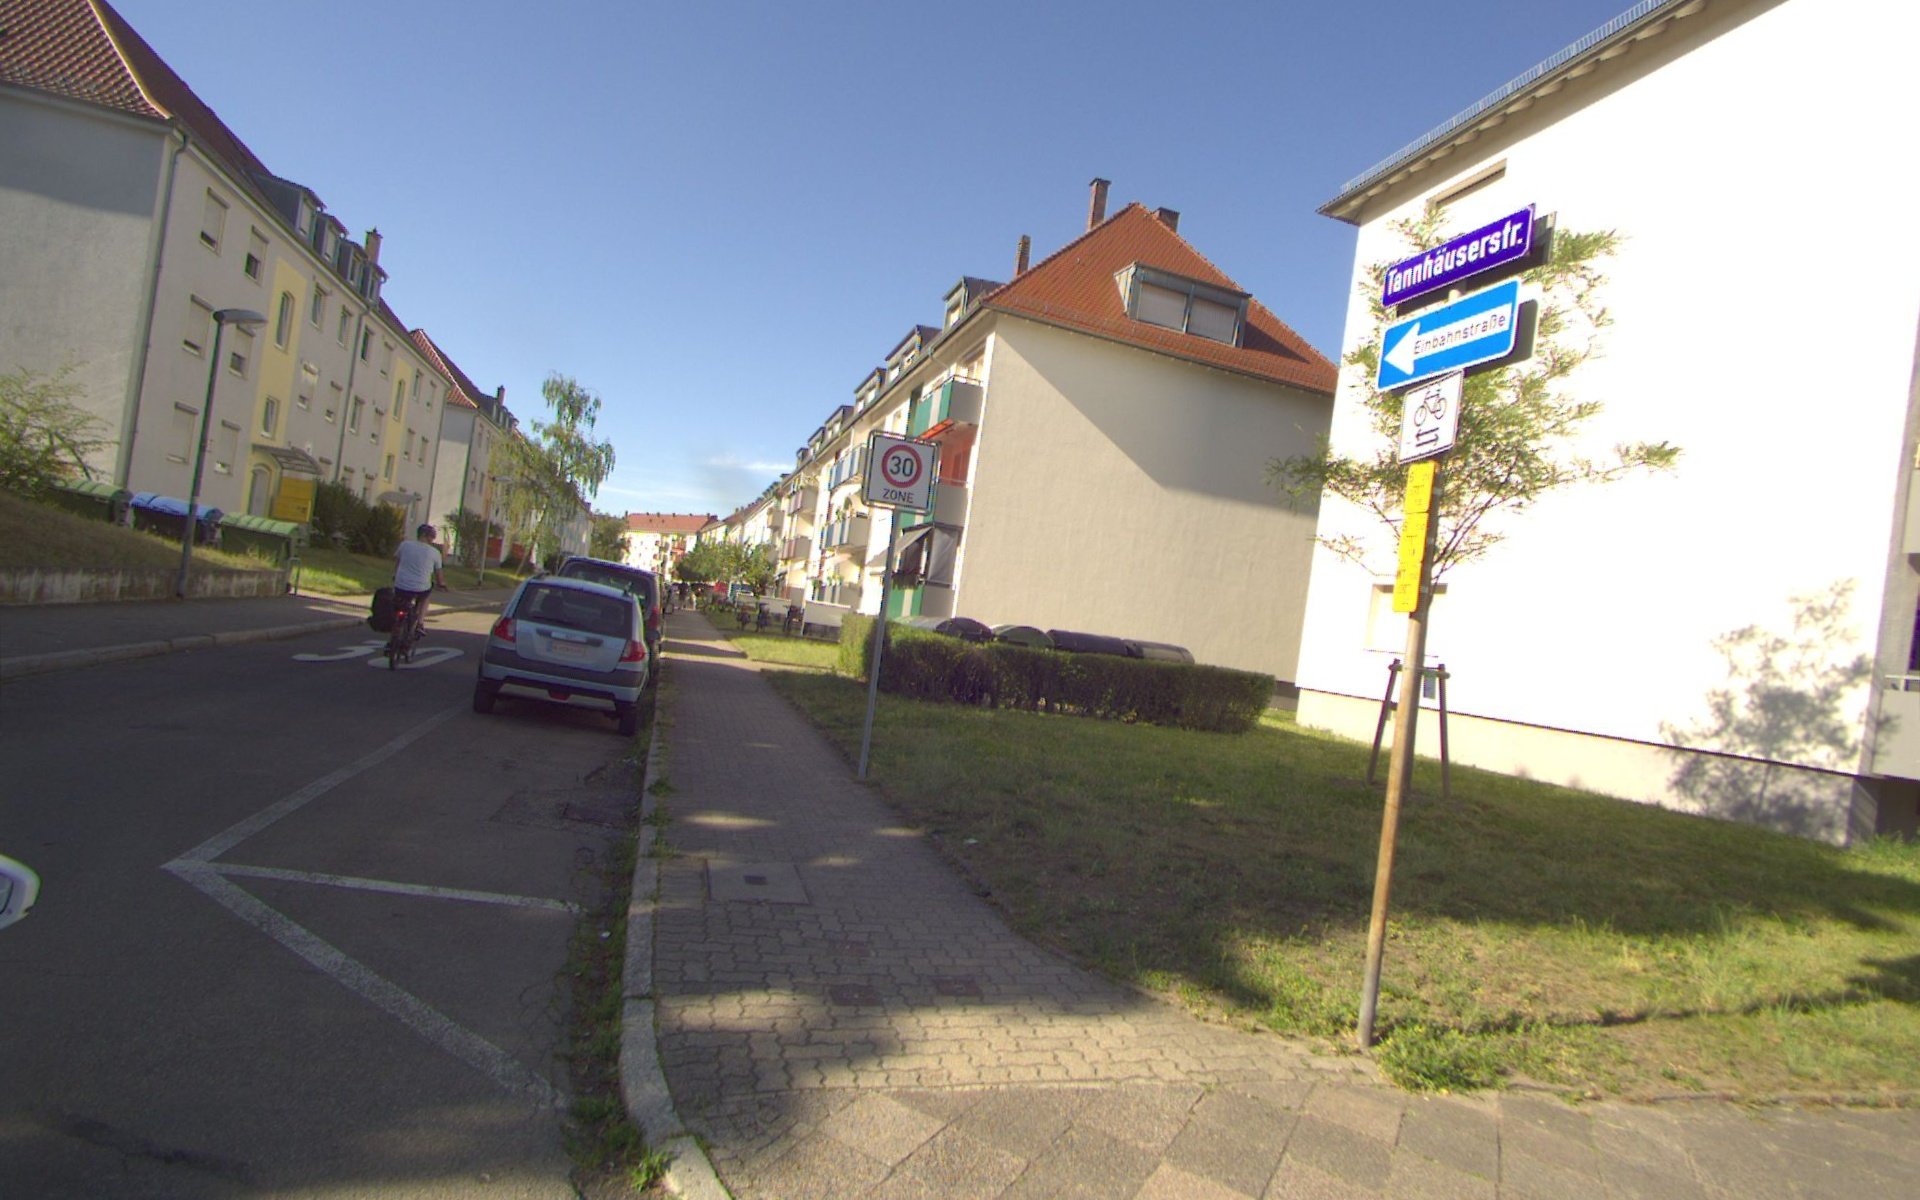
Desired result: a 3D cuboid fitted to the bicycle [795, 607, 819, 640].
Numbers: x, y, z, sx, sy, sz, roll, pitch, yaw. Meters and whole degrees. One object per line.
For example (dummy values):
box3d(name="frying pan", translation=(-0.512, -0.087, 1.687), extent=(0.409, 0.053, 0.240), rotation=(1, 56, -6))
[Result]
box3d(name="bicycle", translation=(-5.674, 0.858, 37.315), extent=(0.508, 1.066, 1.859), rotation=(8, -1, -16))

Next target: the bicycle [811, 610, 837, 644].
box3d(name="bicycle", translation=(-5.081, 0.983, 37.526), extent=(0.552, 1.116, 1.823), rotation=(8, -1, -16))

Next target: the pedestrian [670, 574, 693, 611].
box3d(name="pedestrian", translation=(-16.592, -0.464, 59.932), extent=(1.028, 2.037, 1.020), rotation=(8, -1, -15))

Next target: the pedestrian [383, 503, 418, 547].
box3d(name="pedestrian", translation=(-25.114, -3.355, 45.164), extent=(0.959, 1.735, 0.943), rotation=(8, 0, -17))

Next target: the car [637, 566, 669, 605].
box3d(name="car", translation=(-19.331, -0.922, 63.459), extent=(1.600, 2.168, 3.987), rotation=(8, -1, -16))

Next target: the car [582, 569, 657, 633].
box3d(name="car", translation=(-9.733, -0.003, 28.892), extent=(1.738, 1.448, 3.615), rotation=(9, -1, -18))

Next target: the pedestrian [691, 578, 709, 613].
box3d(name="pedestrian", translation=(-15.917, -0.293, 61.630), extent=(0.781, 2.038, 1.079), rotation=(8, 0, -16))

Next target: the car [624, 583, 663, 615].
box3d(name="car", translation=(-18.118, -0.074, 57.783), extent=(1.872, 1.513, 4.078), rotation=(9, -1, -16))

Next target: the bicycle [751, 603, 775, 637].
box3d(name="bicycle", translation=(-7.155, 0.704, 36.489), extent=(0.552, 1.105, 1.894), rotation=(8, -1, -16))

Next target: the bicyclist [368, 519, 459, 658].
box3d(name="bicyclist", translation=(-6.887, -0.139, 12.708), extent=(0.686, 1.615, 0.788), rotation=(8, -1, -18))

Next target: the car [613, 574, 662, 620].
box3d(name="car", translation=(-12.975, -0.129, 40.539), extent=(1.614, 1.507, 3.610), rotation=(10, -2, -17))

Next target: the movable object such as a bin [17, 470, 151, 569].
box3d(name="movable object such as a bin", translation=(-17.127, -1.536, 19.725), extent=(1.442, 1.632, 1.187), rotation=(9, -1, -17))

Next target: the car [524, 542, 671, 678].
box3d(name="car", translation=(-5.953, 0.132, 16.981), extent=(1.842, 1.750, 4.281), rotation=(9, -1, -16))

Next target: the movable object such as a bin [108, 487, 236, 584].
box3d(name="movable object such as a bin", translation=(-15.763, -1.256, 20.188), extent=(1.482, 1.641, 1.259), rotation=(9, -1, -17))

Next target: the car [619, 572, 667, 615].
box3d(name="car", translation=(-14.227, -0.300, 45.301), extent=(1.814, 1.576, 3.987), rotation=(9, -1, -16))

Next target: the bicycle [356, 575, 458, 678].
box3d(name="bicycle", translation=(-6.975, 0.303, 12.768), extent=(0.653, 1.140, 1.759), rotation=(9, -2, -18))

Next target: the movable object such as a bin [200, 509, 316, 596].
box3d(name="movable object such as a bin", translation=(-14.403, -0.950, 20.711), extent=(1.475, 1.495, 1.260), rotation=(9, -1, -17))

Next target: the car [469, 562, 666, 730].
box3d(name="car", translation=(-4.457, 0.434, 11.721), extent=(1.635, 1.445, 3.884), rotation=(9, -1, -19))

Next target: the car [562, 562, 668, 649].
box3d(name="car", translation=(-8.037, 0.090, 23.659), extent=(1.961, 1.610, 4.110), rotation=(9, -1, -17))

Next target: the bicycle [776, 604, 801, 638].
box3d(name="bicycle", translation=(-6.302, 0.746, 36.838), extent=(0.552, 1.105, 1.894), rotation=(8, -1, -16))
